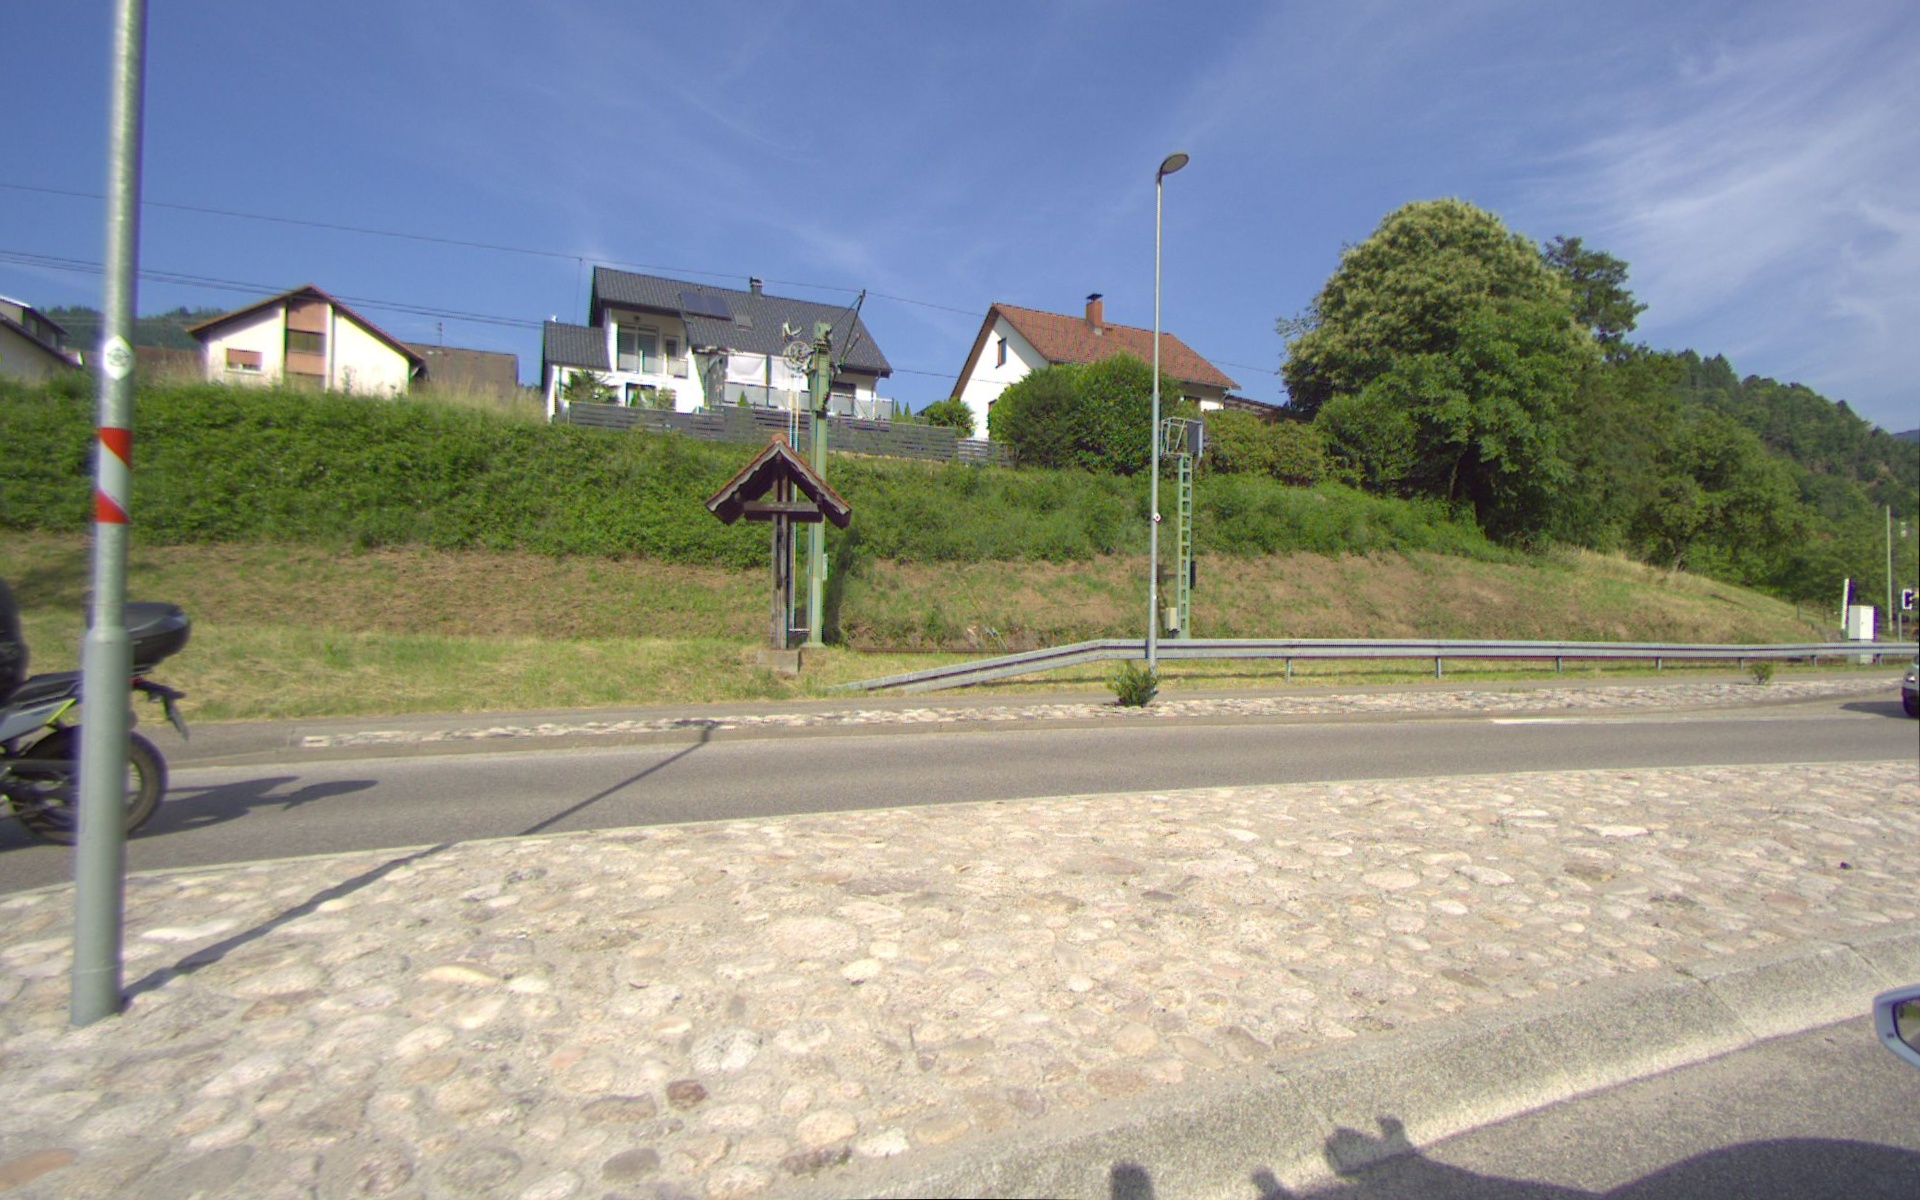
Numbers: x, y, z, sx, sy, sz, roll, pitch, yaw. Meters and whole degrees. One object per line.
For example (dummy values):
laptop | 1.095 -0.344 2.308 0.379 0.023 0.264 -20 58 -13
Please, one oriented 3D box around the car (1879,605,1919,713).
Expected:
car | 16.043 0.943 15.154 3.944 1.581 1.759 2 0 -24
